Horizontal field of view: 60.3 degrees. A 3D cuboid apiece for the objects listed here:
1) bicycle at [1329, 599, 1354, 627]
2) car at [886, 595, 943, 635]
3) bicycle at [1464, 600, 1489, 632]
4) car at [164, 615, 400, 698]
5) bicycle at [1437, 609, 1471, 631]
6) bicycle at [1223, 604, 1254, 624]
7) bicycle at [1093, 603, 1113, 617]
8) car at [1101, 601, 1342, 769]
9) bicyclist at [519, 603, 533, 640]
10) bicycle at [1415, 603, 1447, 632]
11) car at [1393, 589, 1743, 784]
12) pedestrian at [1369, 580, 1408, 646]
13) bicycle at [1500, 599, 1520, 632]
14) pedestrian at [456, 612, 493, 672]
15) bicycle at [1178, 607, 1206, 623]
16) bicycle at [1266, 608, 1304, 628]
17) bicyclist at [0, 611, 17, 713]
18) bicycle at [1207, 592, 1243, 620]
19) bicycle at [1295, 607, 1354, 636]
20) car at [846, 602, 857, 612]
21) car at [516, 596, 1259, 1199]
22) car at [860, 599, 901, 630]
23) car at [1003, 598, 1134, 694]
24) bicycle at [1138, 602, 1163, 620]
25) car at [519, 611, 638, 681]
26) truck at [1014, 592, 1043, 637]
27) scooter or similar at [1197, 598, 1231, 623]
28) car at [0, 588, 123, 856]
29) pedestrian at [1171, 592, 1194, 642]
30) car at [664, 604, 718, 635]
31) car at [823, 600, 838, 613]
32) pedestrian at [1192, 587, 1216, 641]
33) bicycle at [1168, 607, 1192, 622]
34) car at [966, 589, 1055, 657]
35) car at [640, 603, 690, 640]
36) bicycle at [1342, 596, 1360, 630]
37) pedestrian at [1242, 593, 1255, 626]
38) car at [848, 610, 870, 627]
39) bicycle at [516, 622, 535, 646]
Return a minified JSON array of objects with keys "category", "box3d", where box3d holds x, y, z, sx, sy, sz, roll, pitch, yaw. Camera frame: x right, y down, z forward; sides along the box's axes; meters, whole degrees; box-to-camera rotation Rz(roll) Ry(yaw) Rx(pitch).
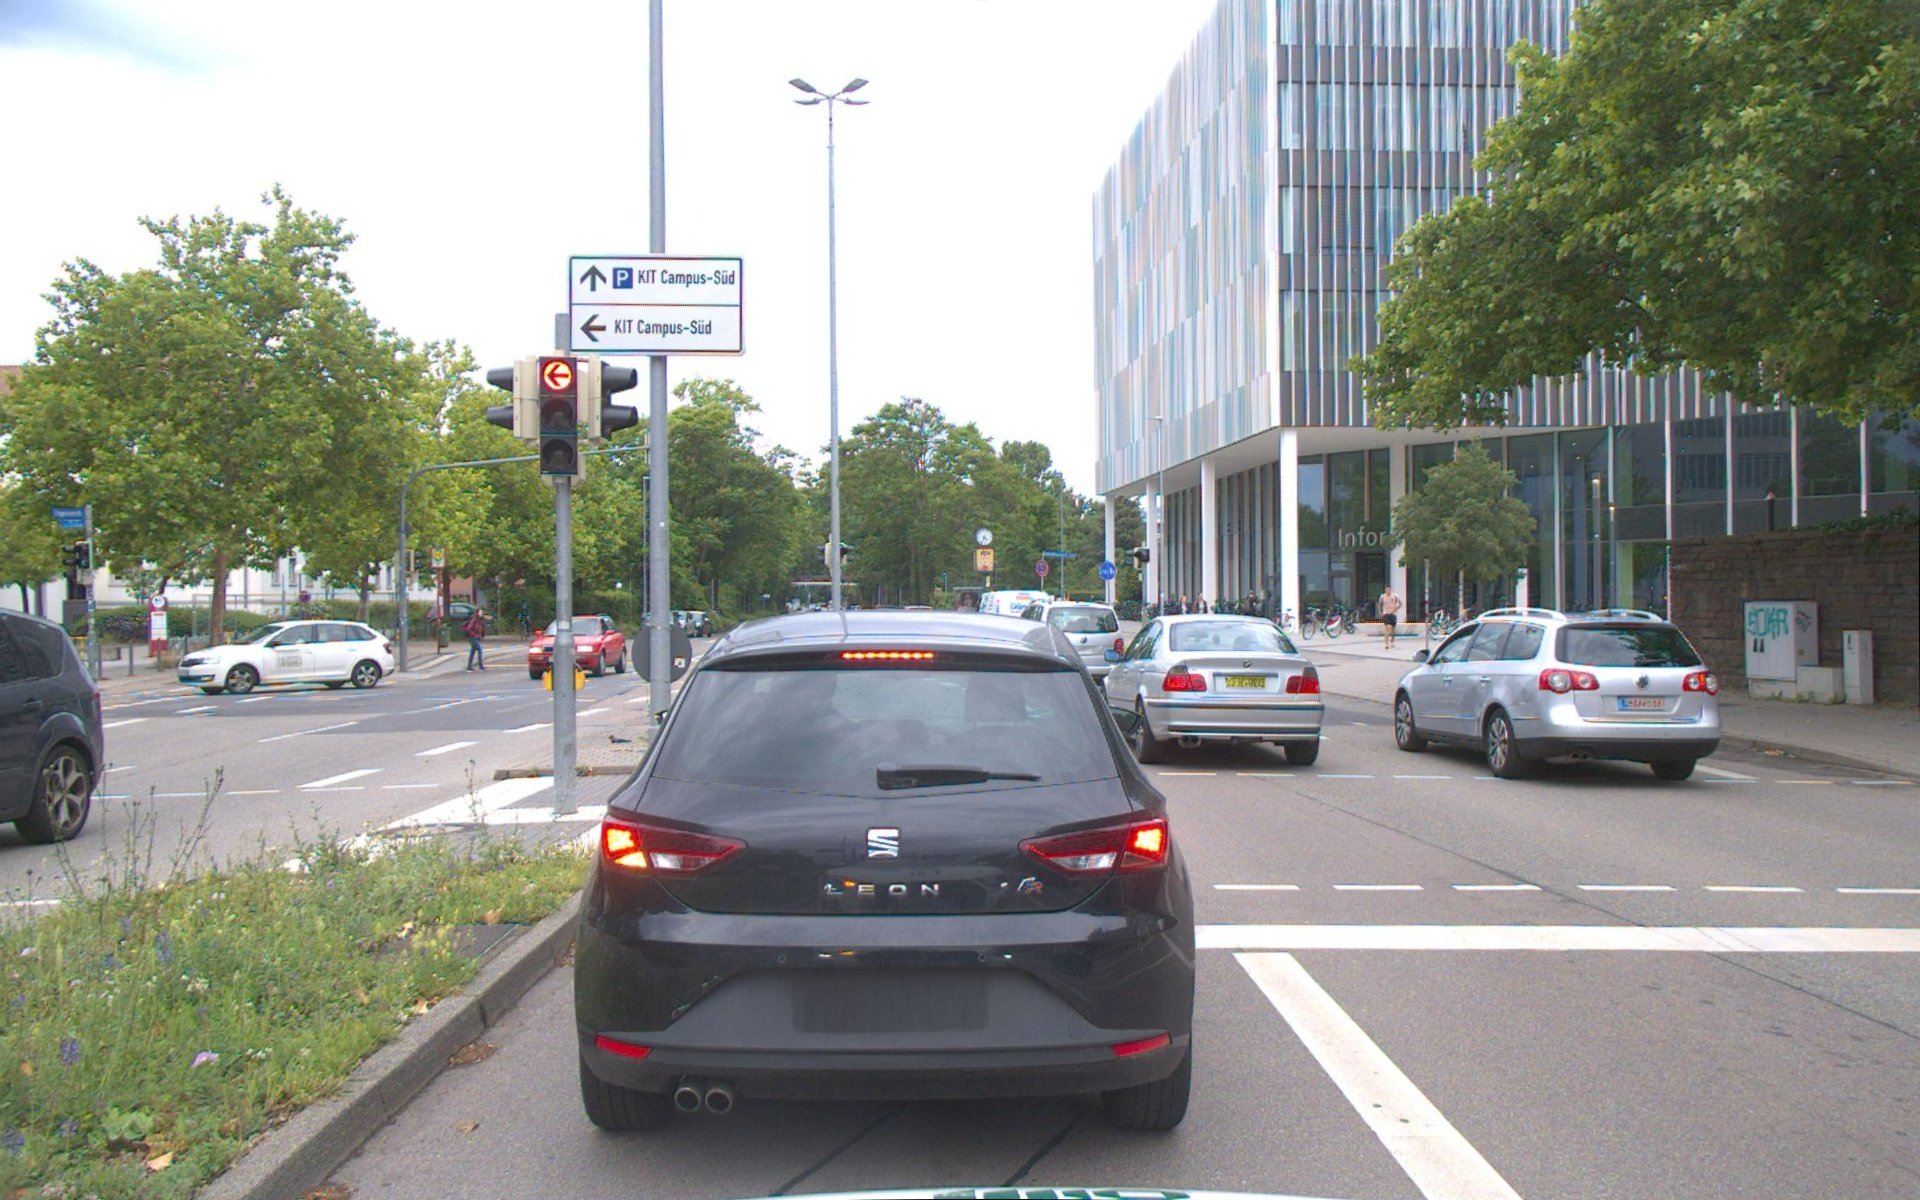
[{"category":"bicycle","box3d":[15.537,0.524,67.410,0.607,1.064,1.704,-2,1,25]},{"category":"car","box3d":[-2.066,0.654,73.743,1.914,1.652,3.739,1,1,-11]},{"category":"bicycle","box3d":[18.708,0.575,59.875,0.792,1.074,1.950,-2,1,19]},{"category":"car","box3d":[-13.993,1.133,34.301,1.680,1.456,4.201,-2,1,43]},{"category":"bicycle","box3d":[18.194,0.727,60.910,1.515,0.728,0.511,-3,1,-44]},{"category":"bicycle","box3d":[12.836,0.646,76.208,1.421,0.872,0.361,-2,0,-28]},{"category":"bicycle","box3d":[9.419,0.667,109.090,1.241,0.863,0.479,2,-1,-23]},{"category":"car","box3d":[2.523,0.762,16.907,1.687,1.439,4.244,1,1,-1]},{"category":"bicyclist","box3d":[-19.834,0.984,75.540,0.481,1.653,0.588,1,1,-1]},{"category":"bicycle","box3d":[17.558,0.644,61.582,0.682,0.963,1.981,-2,1,29]},{"category":"car","box3d":[5.608,0.755,15.895,1.787,1.578,4.527,1,-1,1]},{"category":"pedestrian","box3d":[12.062,0.360,46.561,0.830,1.795,0.767,-2,0,-1]},{"category":"bicycle","box3d":[19.614,0.540,58.964,0.609,1.074,1.950,-2,1,19]},{"category":"pedestrian","box3d":[-13.450,1.165,45.819,0.858,1.614,0.542,-2,0,-8]},{"category":"bicycle","box3d":[11.832,0.759,84.360,1.346,0.717,0.416,-2,0,2]},{"category":"bicycle","box3d":[13.725,0.762,69.873,1.450,0.761,0.565,-2,0,-4]},{"category":"bicyclist","box3d":[-16.035,1.015,27.065,0.652,1.664,0.961,1,-1,-3]},{"category":"bicycle","box3d":[12.474,0.277,77.910,1.758,1.232,0.563,-2,0,-35]},{"category":"bicycle","box3d":[12.420,0.728,56.372,1.860,0.914,0.693,-2,0,-22]},{"category":"car","box3d":[-14.456,0.887,219.942,1.475,1.214,3.160,-2,1,-4]},{"category":"car","box3d":[-0.121,0.727,5.730,1.717,1.457,3.770,1,0,1]},{"category":"car","box3d":[-4.689,0.838,97.216,1.879,1.693,4.105,-2,1,-10]},{"category":"car","box3d":[1.925,0.788,30.491,1.696,1.631,4.099,0,0,-7]},{"category":"bicycle","box3d":[10.576,0.629,91.947,1.357,0.958,0.488,-1,0,6]},{"category":"car","box3d":[-8.882,1.030,38.822,1.678,1.443,4.295,-2,0,1]},{"category":"truck","box3d":[3.650,0.766,88.387,1.291,2.282,3.401,-2,0,-1]},{"category":"scooter or similar","box3d":[12.069,0.509,78.482,1.655,1.126,0.493,-2,0,-33]},{"category":"car","box3d":[-7.005,0.805,9.750,1.882,1.693,4.398,-2,0,-1]},{"category":"pedestrian","box3d":[7.527,0.575,55.940,0.673,1.668,0.632,1,0,-1]},{"category":"car","box3d":[-15.548,1.090,95.806,1.721,1.615,4.004,-2,1,12]},{"category":"car","box3d":[-16.831,0.851,214.475,1.663,1.530,4.003,-2,1,-7]},{"category":"pedestrian","box3d":[8.247,0.477,55.932,0.673,1.812,0.677,0,0,-1]},{"category":"bicycle","box3d":[11.574,0.761,87.047,1.213,0.717,0.489,-2,0,8]},{"category":"car","box3d":[1.534,0.672,51.815,1.930,2.007,4.333,1,0,-10]},{"category":"car","box3d":[-15.321,1.114,86.008,1.868,1.747,3.999,-2,1,-1]},{"category":"bicycle","box3d":[15.286,0.495,64.614,0.515,1.275,1.667,-2,0,17]},{"category":"pedestrian","box3d":[12.015,0.392,68.865,0.462,1.385,0.446,-2,0,9]},{"category":"car","box3d":[-8.964,1.639,146.981,1.861,1.377,3.879,-2,1,-4]},{"category":"bicycle","box3d":[-19.845,1.563,75.556,0.478,1.023,1.590,1,1,-1]}]
